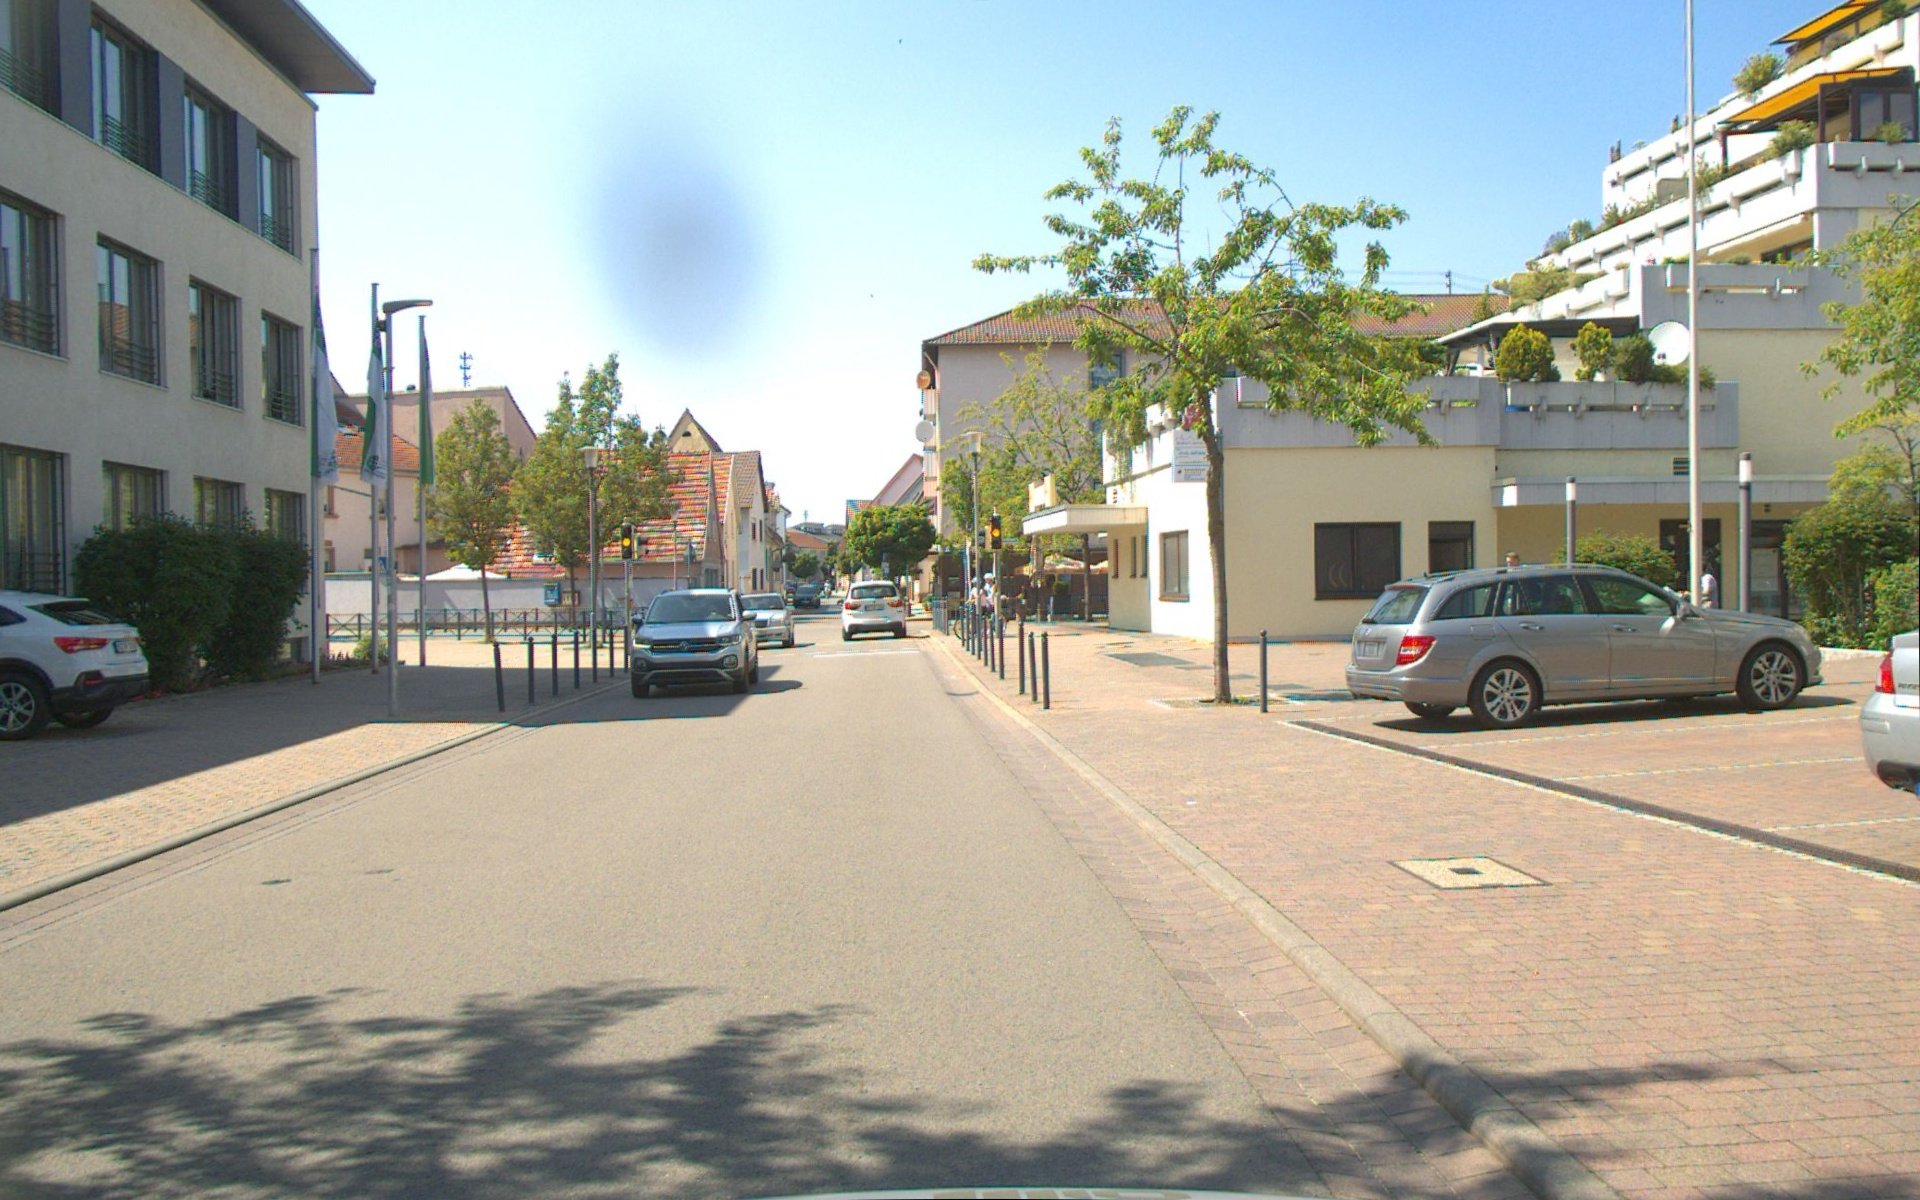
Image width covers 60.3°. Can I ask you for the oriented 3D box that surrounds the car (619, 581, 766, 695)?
[{"bbox_3d":[-4.101,0.532,25.898,1.814,1.601,3.998,-1,0,-3],"label":"car"}]

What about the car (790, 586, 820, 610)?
[{"bbox_3d":[-10.515,-0.167,112.347,1.679,1.543,3.785,-1,0,-1],"label":"car"}]

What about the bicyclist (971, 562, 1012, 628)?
[{"bbox_3d":[0.831,-0.131,43.309,0.756,1.693,0.660,-4,1,-44],"label":"bicyclist"}]

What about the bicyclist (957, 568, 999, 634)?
[{"bbox_3d":[0.457,0.029,41.657,0.658,1.609,0.758,-2,1,37],"label":"bicyclist"}]

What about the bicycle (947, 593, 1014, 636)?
[{"bbox_3d":[0.524,0.361,41.726,0.663,0.974,1.888,-2,2,37],"label":"bicycle"}]

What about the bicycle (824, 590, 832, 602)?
[{"bbox_3d":[-11.793,-0.341,147.916,0.651,1.024,1.896,-1,0,-2],"label":"bicycle"}]

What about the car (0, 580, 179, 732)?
[{"bbox_3d":[-11.309,0.584,18.191,4.418,1.581,2.146,0,0,-5],"label":"car"}]

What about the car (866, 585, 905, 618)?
[{"bbox_3d":[-3.677,0.069,81.917,1.768,1.527,3.999,-1,1,-1],"label":"car"}]

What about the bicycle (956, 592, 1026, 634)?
[{"bbox_3d":[0.821,0.328,43.272,1.882,0.974,0.665,-4,1,-45],"label":"bicycle"}]

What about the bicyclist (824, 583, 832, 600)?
[{"bbox_3d":[-11.786,-0.743,147.822,0.660,1.508,0.770,-1,0,-3],"label":"bicyclist"}]

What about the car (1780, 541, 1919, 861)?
[{"bbox_3d":[6.594,0.350,7.993,4.453,1.465,1.836,-3,1,-9],"label":"car"}]

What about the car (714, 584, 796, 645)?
[{"bbox_3d":[-5.364,0.355,43.812,1.843,1.489,4.433,-1,0,-3],"label":"car"}]

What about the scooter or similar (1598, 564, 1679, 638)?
[{"bbox_3d":[10.684,0.011,26.063,1.018,1.126,0.628,-1,0,6],"label":"scooter or similar"}]

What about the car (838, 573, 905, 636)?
[{"bbox_3d":[-2.497,0.099,47.298,1.797,1.680,3.998,-1,1,-2],"label":"car"}]

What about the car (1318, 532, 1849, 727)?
[{"bbox_3d":[6.039,0.254,16.261,4.492,1.539,1.912,-3,0,-9],"label":"car"}]

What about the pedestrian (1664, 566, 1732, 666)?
[{"bbox_3d":[11.583,0.243,25.962,0.781,1.548,0.706,-1,0,6],"label":"pedestrian"}]

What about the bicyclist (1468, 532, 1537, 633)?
[{"bbox_3d":[8.623,-0.286,26.308,0.751,1.553,0.664,-3,1,-29],"label":"bicyclist"}]
